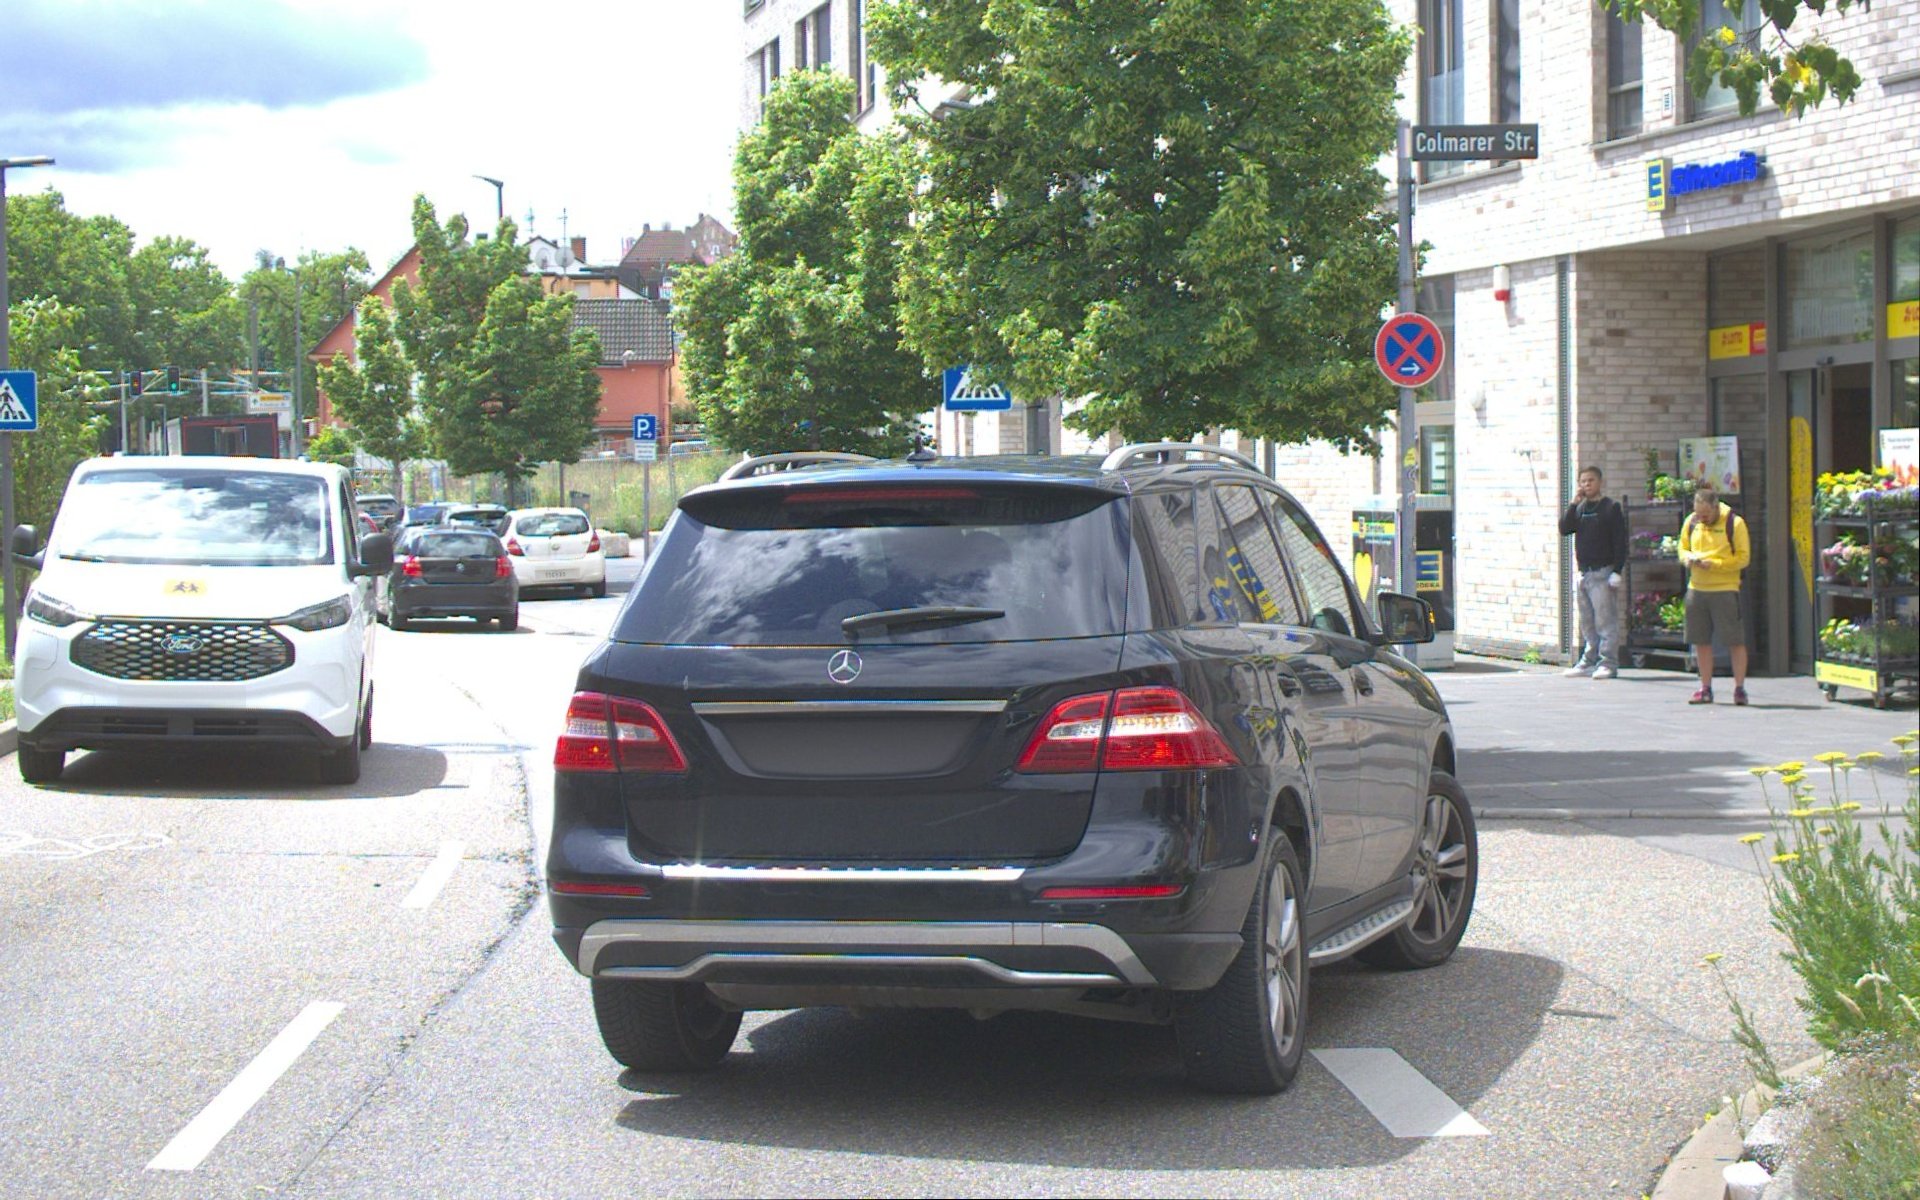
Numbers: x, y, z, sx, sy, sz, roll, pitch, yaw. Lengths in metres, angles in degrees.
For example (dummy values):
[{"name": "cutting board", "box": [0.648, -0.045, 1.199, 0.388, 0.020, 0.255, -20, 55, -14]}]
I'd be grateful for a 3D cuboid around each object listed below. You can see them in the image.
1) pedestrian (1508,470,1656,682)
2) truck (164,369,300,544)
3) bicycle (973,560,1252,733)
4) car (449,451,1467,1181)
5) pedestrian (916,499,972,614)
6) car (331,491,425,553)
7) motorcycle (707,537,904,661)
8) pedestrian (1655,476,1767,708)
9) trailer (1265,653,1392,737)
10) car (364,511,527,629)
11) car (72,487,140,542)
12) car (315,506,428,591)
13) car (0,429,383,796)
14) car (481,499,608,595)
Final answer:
[{"name": "pedestrian", "box": [5.226, -0.212, 28.904, 1.014, 1.735, 0.660, -2, 1, -18]}, {"name": "truck", "box": [-20.219, -3.848, 95.122, 3.202, 4.520, 9.031, 0, 1, -15]}, {"name": "bicycle", "box": [1.064, 0.314, 24.157, 1.822, 1.127, 0.756, -2, 1, -8]}, {"name": "car", "box": [0.283, 0.455, 10.623, 1.995, 1.740, 4.529, -2, 2, 15]}, {"name": "pedestrian", "box": [-0.216, -0.577, 44.916, 0.607, 1.467, 0.791, -2, 2, -6]}, {"name": "car", "box": [-14.894, -2.006, 87.844, 1.781, 1.446, 4.478, -3, 3, -16]}, {"name": "motorcycle", "box": [-1.685, -0.013, 37.789, 2.050, 1.261, 0.673, -2, 1, 4]}, {"name": "pedestrian", "box": [5.555, -0.067, 25.413, 0.658, 1.686, 0.631, 0, 2, 26]}, {"name": "trailer", "box": [2.489, 0.638, 23.259, 0.719, 0.526, 0.811, 0, 1, -4]}, {"name": "car", "box": [-7.135, -0.448, 47.403, 1.726, 1.451, 3.810, -2, 3, -16]}, {"name": "car", "box": [-23.797, -2.395, 95.839, 1.811, 1.464, 3.909, 0, 2, -14]}, {"name": "car", "box": [-10.736, -0.965, 62.565, 1.711, 1.388, 3.810, -2, 3, -14]}, {"name": "car", "box": [-4.715, 0.016, 21.766, 1.993, 2.007, 5.396, 1, 1, -9]}, {"name": "car", "box": [-7.038, -0.920, 58.025, 1.692, 1.478, 3.799, -2, 3, -13]}]
